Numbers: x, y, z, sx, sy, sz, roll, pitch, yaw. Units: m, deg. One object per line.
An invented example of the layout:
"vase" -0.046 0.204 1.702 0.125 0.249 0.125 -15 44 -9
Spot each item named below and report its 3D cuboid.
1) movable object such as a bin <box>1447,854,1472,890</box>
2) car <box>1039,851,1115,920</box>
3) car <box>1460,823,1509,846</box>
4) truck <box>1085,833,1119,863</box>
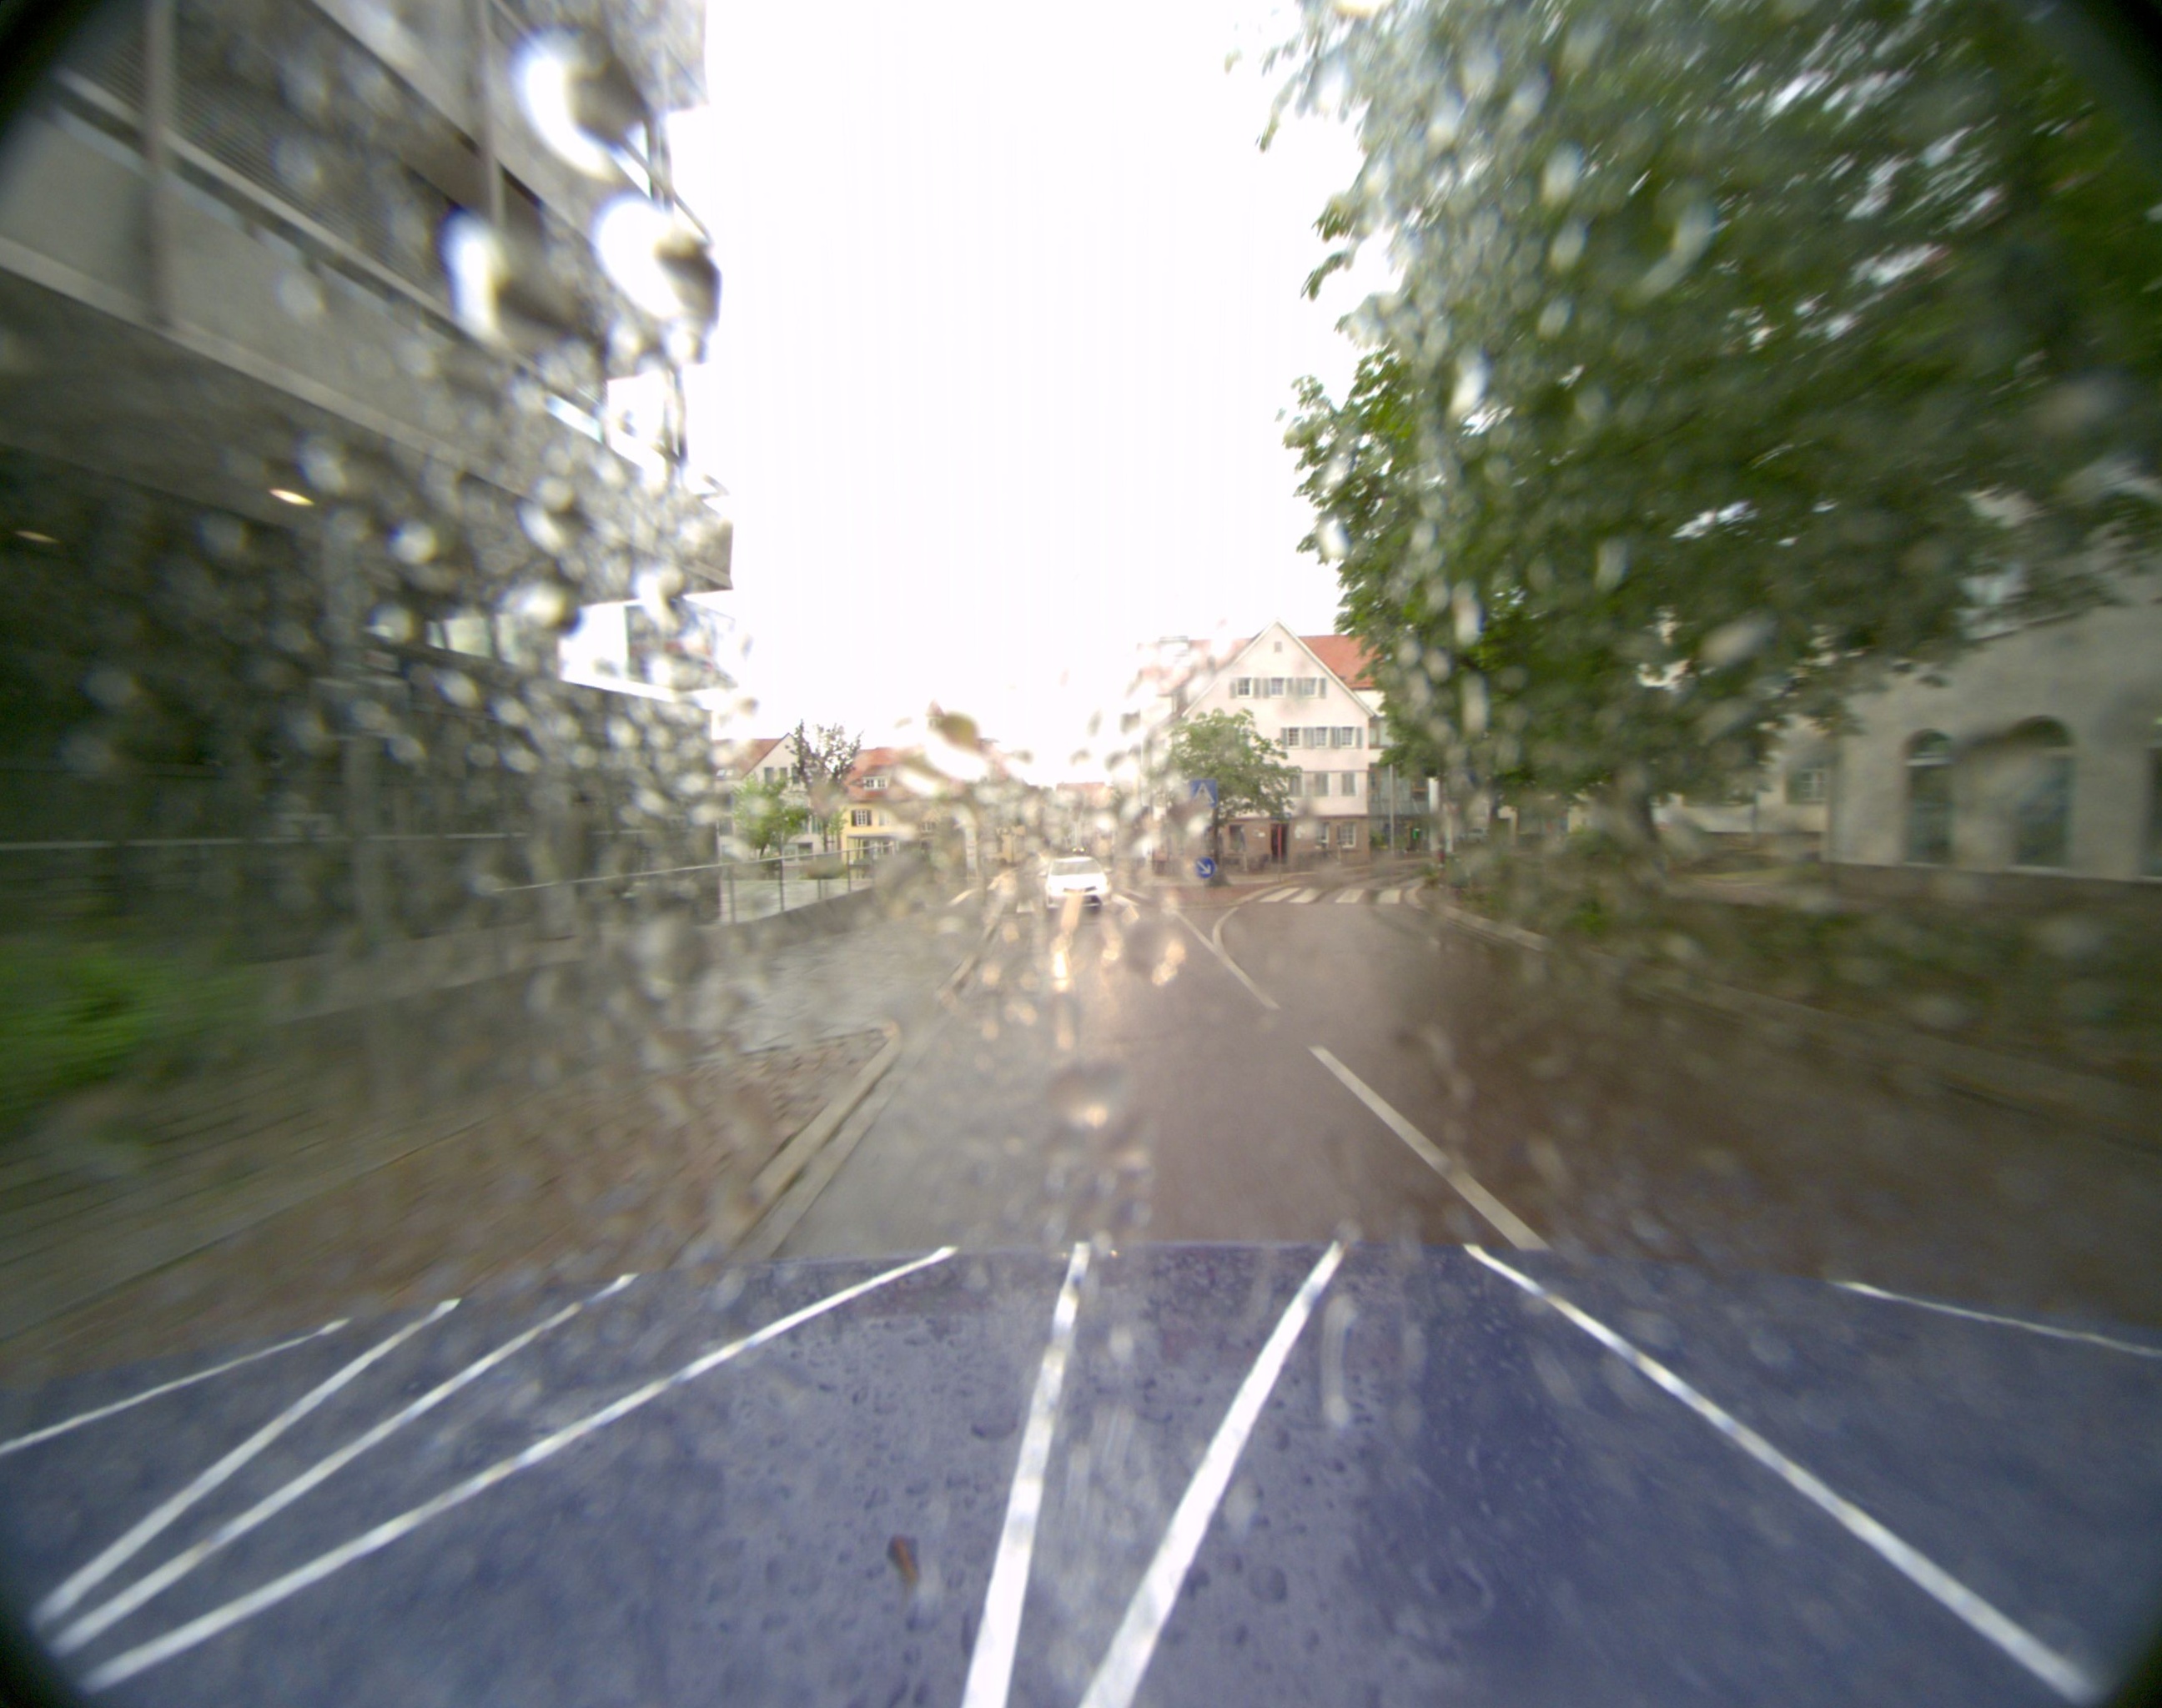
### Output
"movable object such as a bin" 11.461 0.527 23.013 0.634 1.053 0.699 0 2 22
"car" -0.116 0.794 21.485 1.868 1.578 4.612 -2 2 -1
"car" 29.605 -1.448 55.860 1.828 1.612 3.890 0 2 5
"truck" 1.964 -0.507 73.001 2.406 2.579 6.481 -2 -1 -5
